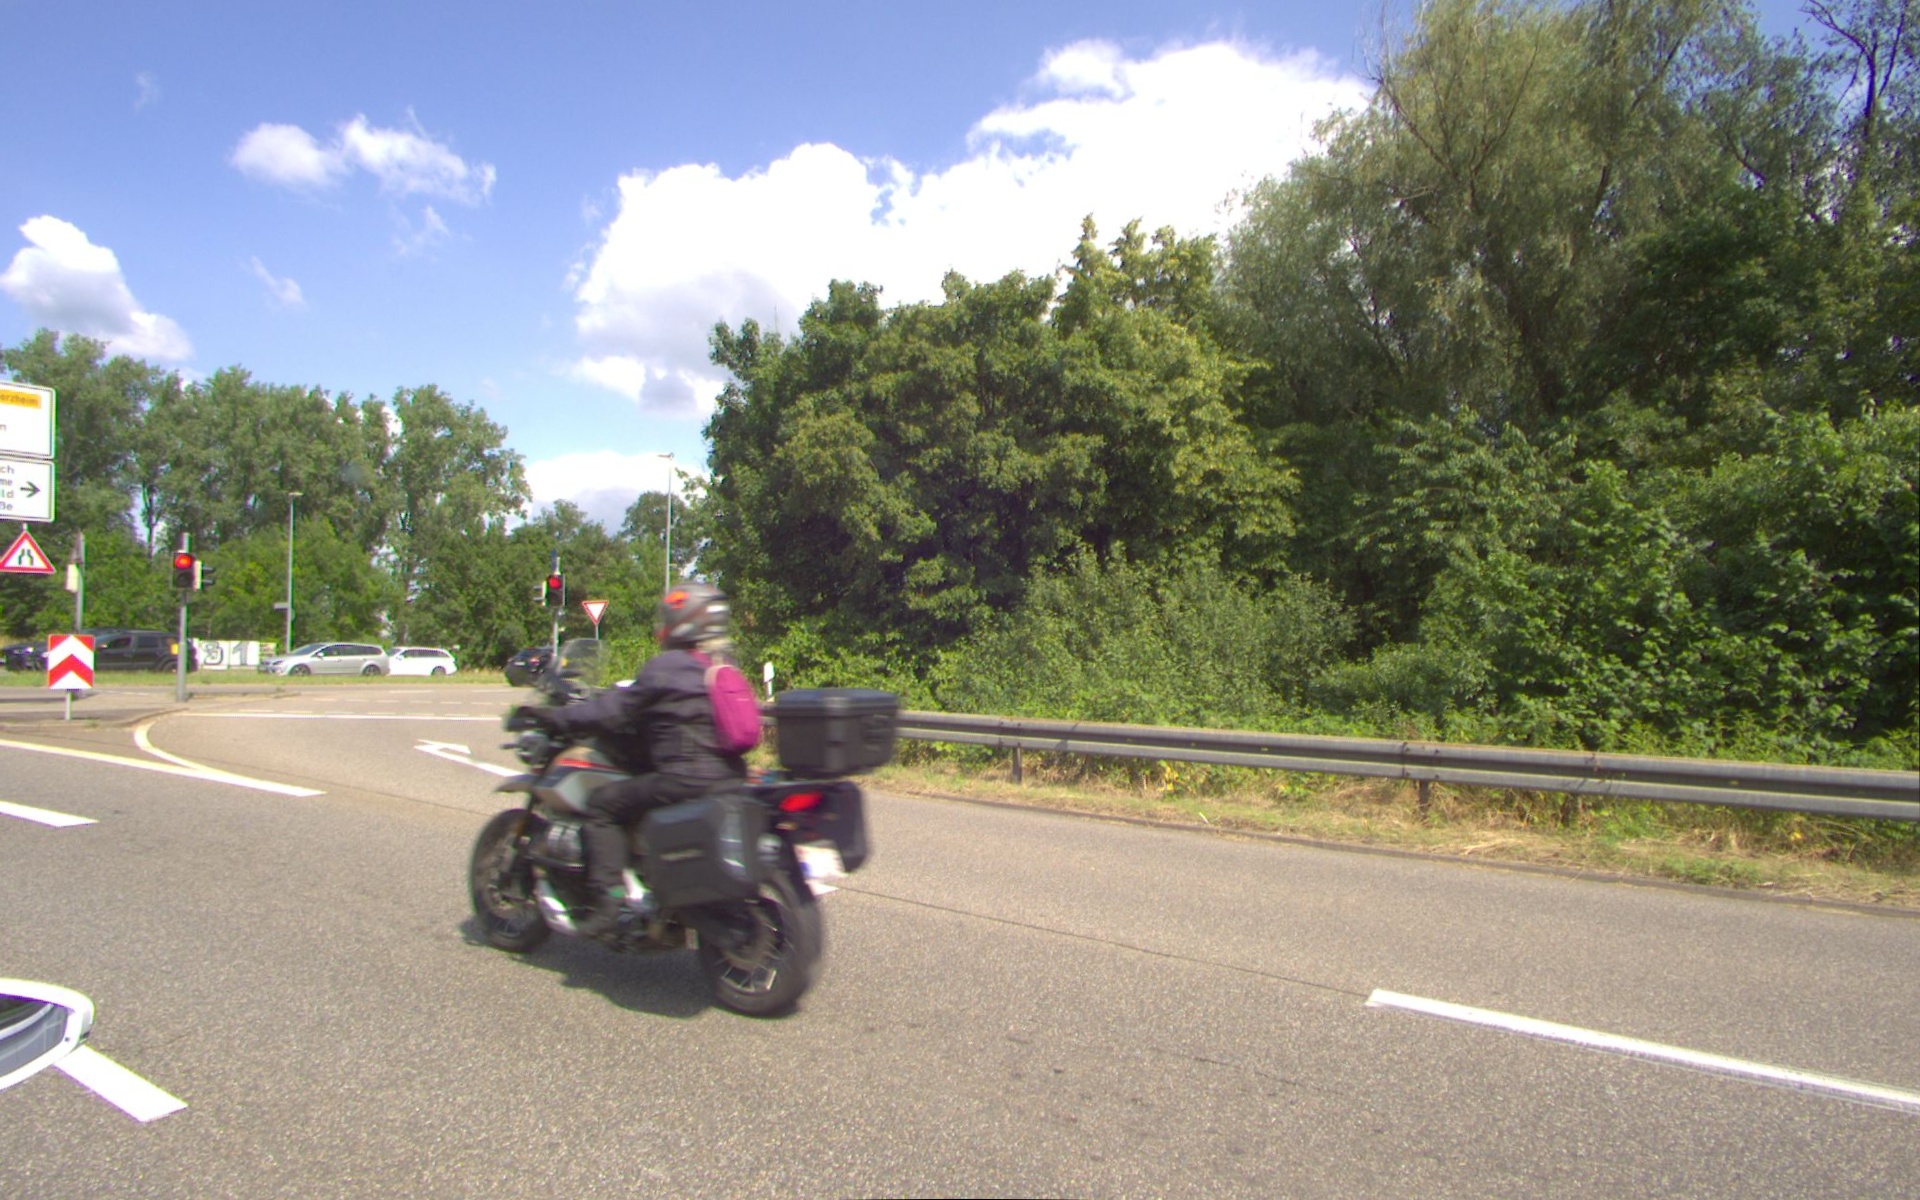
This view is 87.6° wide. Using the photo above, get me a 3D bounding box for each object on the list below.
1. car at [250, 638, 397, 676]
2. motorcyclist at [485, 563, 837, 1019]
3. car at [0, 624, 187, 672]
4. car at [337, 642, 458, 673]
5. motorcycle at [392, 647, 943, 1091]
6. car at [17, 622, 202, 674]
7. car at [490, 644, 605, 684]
[{"bbox_3d":[-24.199,2.149,38.256,1.710,1.337,4.471,0,-3,29],"label":"car"},{"bbox_3d":[-1.243,0.700,4.238,1.068,1.611,0.935,0,-2,32],"label":"motorcyclist"},{"bbox_3d":[-30.405,1.693,35.174,1.711,1.564,4.842,0,-3,31],"label":"car"},{"bbox_3d":[-24.939,2.556,44.569,1.710,1.297,4.491,0,-3,29],"label":"car"},{"bbox_3d":[-1.307,0.919,4.276,2.336,1.401,0.935,-1,-2,32],"label":"motorcycle"},{"bbox_3d":[-27.549,1.560,32.580,1.711,1.564,4.264,0,-3,31],"label":"car"},{"bbox_3d":[-16.206,2.502,39.508,1.921,1.436,3.961,0,-3,24],"label":"car"}]
